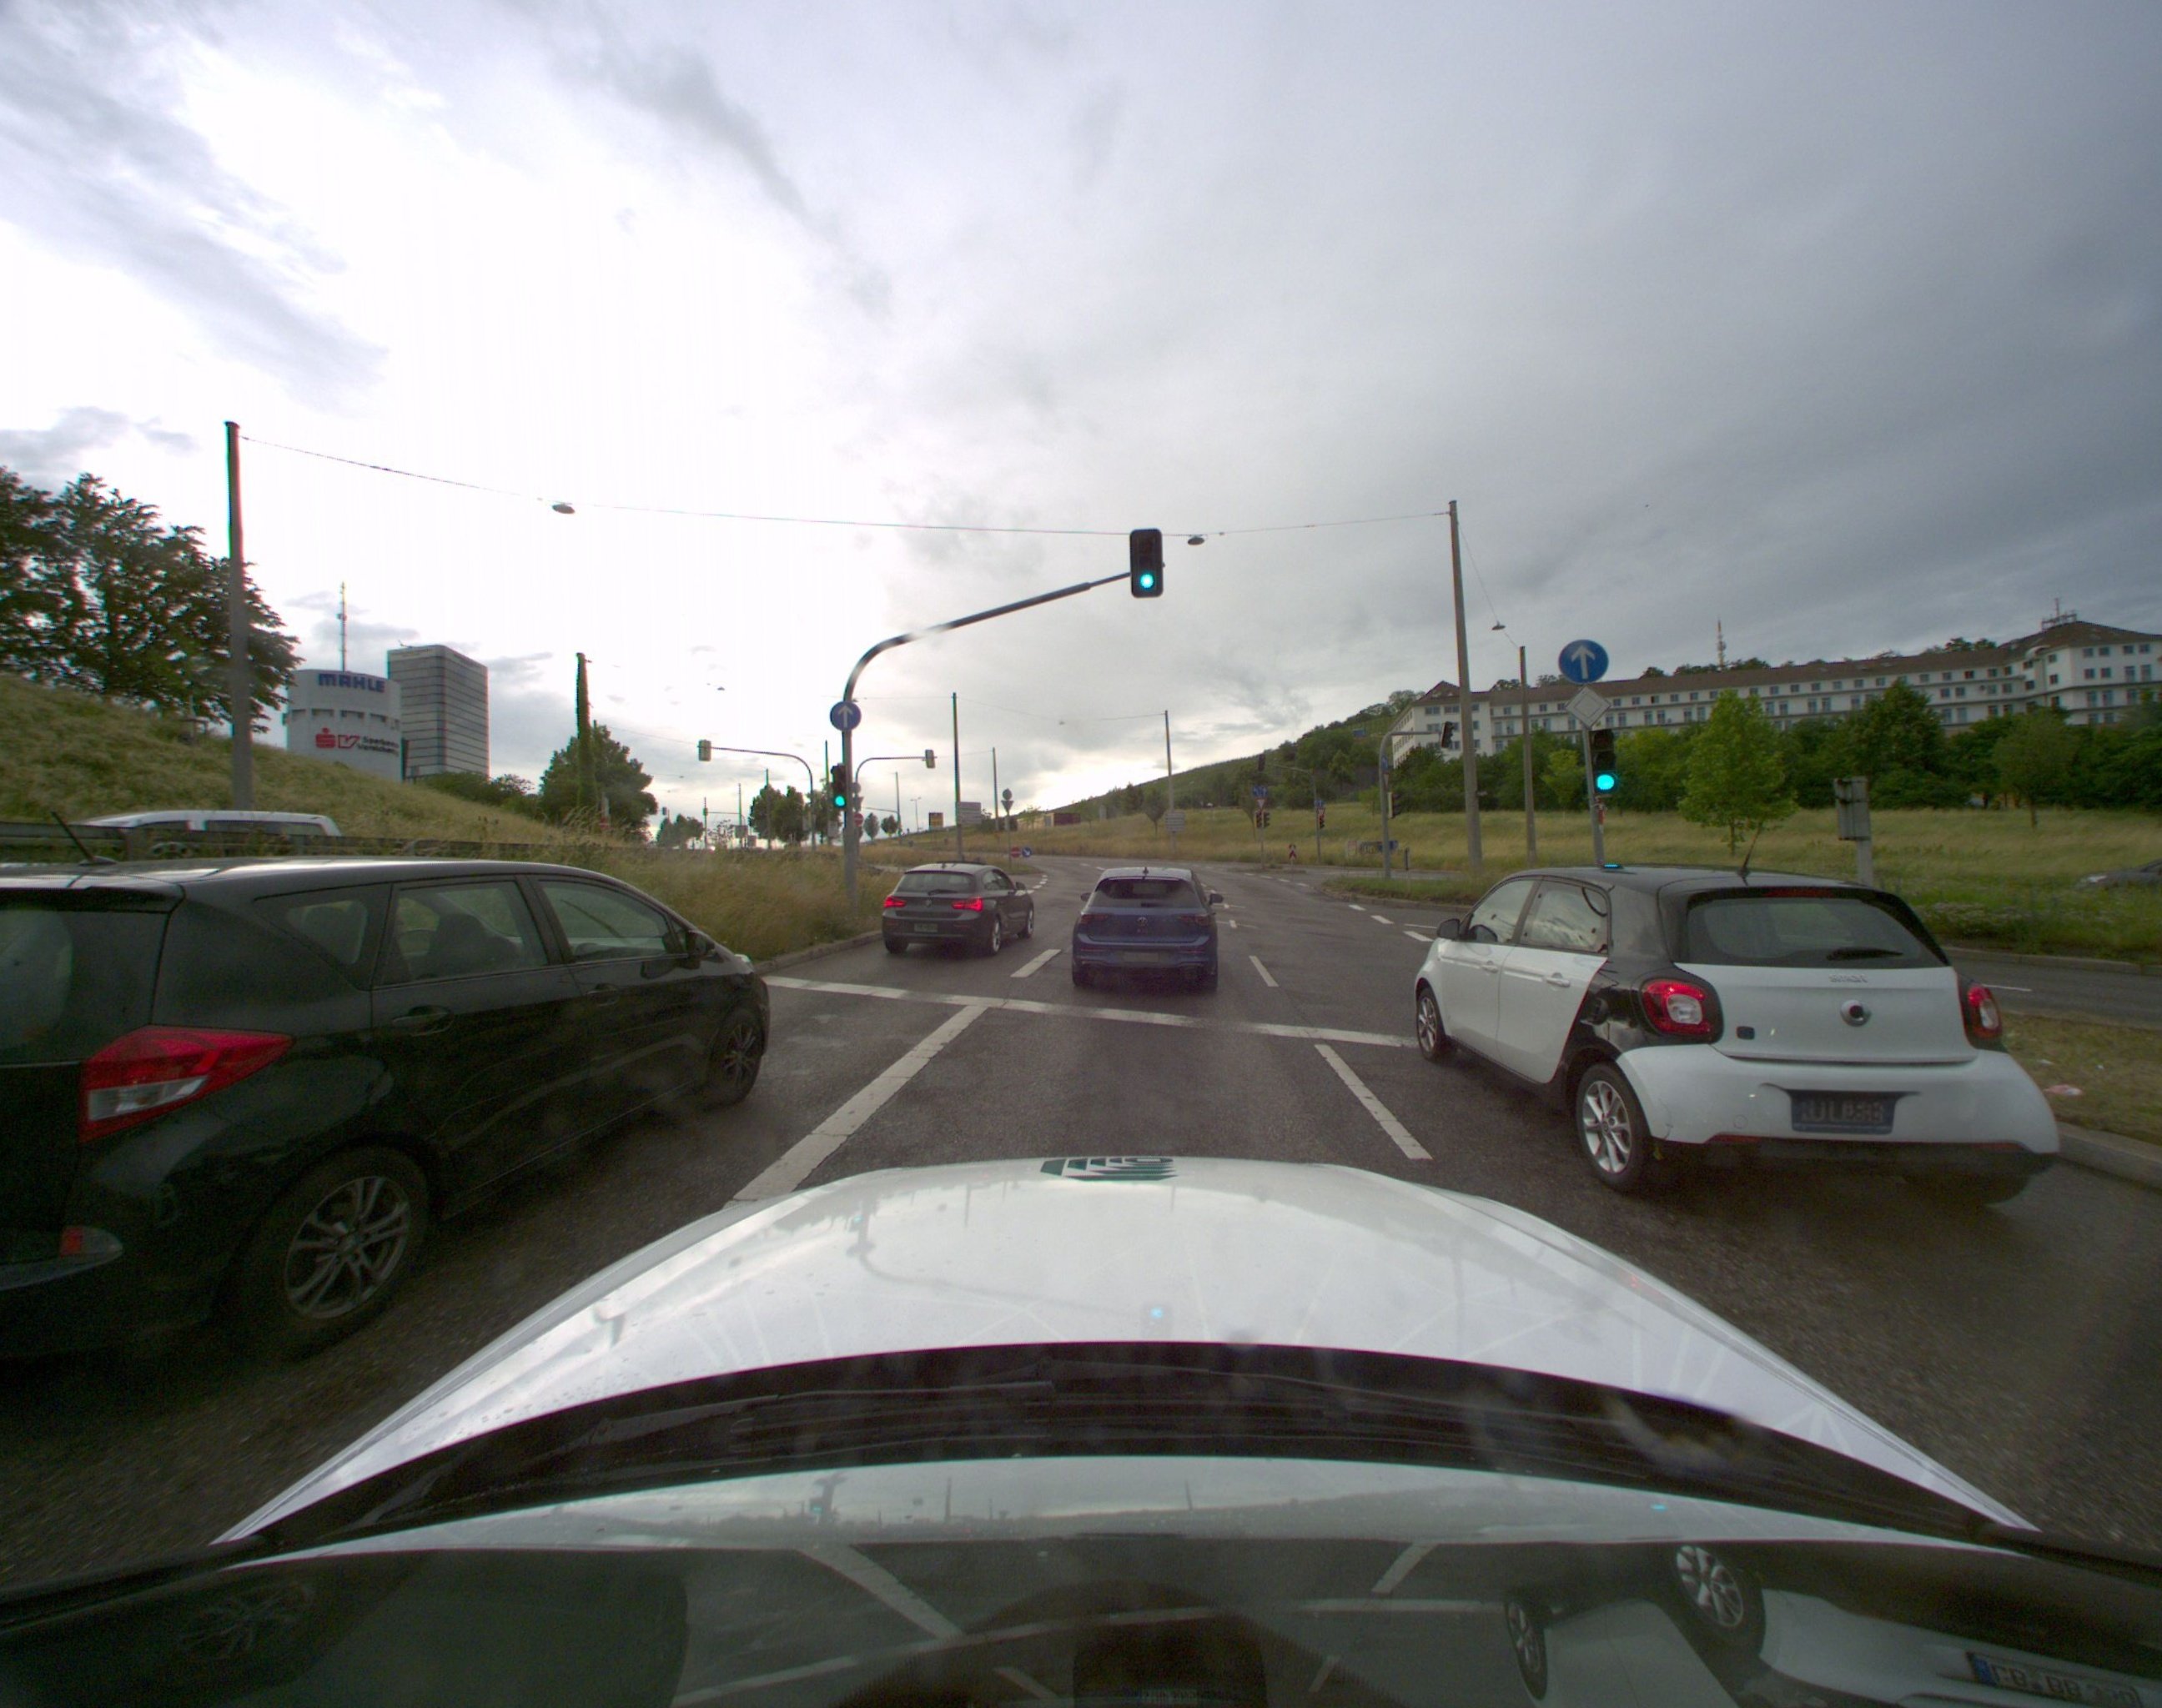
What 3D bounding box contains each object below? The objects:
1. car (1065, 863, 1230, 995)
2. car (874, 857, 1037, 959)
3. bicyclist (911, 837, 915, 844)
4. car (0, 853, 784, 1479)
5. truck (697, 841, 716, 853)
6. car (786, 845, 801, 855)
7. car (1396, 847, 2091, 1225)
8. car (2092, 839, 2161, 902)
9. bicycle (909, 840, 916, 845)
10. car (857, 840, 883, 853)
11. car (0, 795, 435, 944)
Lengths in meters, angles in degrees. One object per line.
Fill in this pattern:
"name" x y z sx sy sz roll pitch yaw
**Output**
"car" 0.955 0.867 11.045 1.816 1.461 3.815 -1 -1 6
"car" -1.983 0.814 14.124 1.694 1.460 4.122 -2 0 7
"bicyclist" -25.830 -2.140 125.152 0.527 1.047 0.574 2 -1 -32
"car" -3.056 0.770 3.900 1.634 1.504 3.783 -1 0 4
"truck" -98.889 -1.779 214.773 3.283 3.075 6.108 2 -1 -37
"car" -51.676 -0.767 146.403 2.004 1.637 4.382 2 0 -27
"car" 3.323 0.773 5.028 1.650 1.503 3.455 -1 -1 5
"car" 27.630 0.382 19.664 2.009 1.537 3.917 0 -2 -36
"bicycle" -25.871 -1.814 125.217 0.521 0.775 1.605 1 0 -32
"car" -26.979 -0.960 104.025 2.006 1.618 4.805 1 0 -30
"car" -12.915 0.118 12.531 1.806 1.849 4.707 -1 2 6
